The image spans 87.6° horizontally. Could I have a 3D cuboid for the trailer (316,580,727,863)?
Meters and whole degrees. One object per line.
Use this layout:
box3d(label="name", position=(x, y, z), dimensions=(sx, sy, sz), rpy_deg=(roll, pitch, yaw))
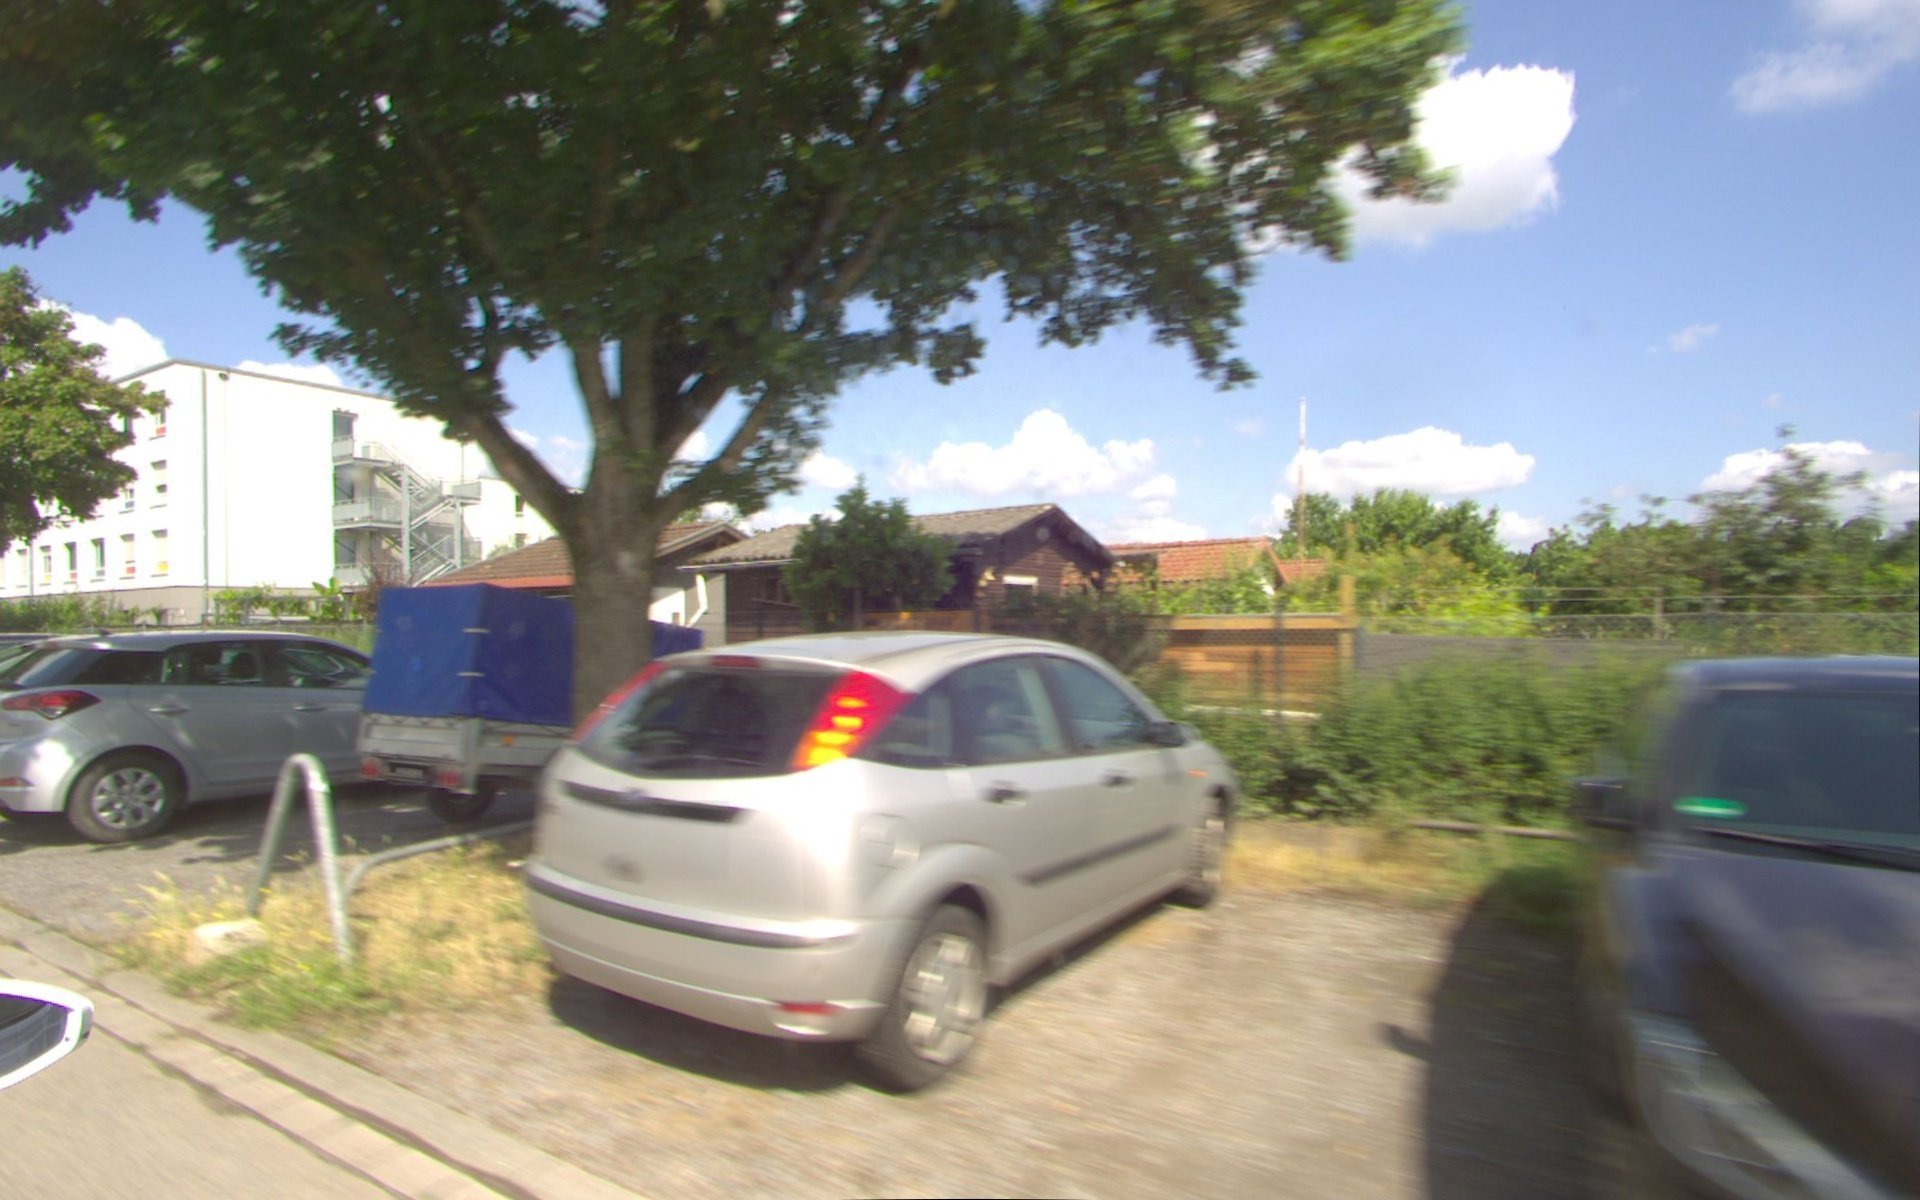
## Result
box3d(label="trailer", position=(-3.192, 0.795, 7.624), dimensions=(1.495, 1.742, 2.449), rpy_deg=(0, -2, 29))

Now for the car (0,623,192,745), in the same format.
box3d(label="car", position=(-12.786, 1.052, 12.789), dimensions=(1.947, 1.511, 4.329), rpy_deg=(-1, -3, 32))

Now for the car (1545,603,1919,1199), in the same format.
box3d(label="car", position=(2.613, 0.803, 2.595), dimensions=(1.842, 1.473, 4.062), rpy_deg=(-1, -2, 30))

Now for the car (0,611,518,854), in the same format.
box3d(label="car", position=(-5.979, 0.939, 8.523), dimensions=(1.822, 1.559, 3.721), rpy_deg=(-1, -2, 29))

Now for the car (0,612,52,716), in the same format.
box3d(label="car", position=(-16.961, 1.046, 15.371), dimensions=(1.853, 1.659, 4.144), rpy_deg=(-1, -1, 33))

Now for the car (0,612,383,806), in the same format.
box3d(label="car", position=(-8.308, 0.965, 9.716), dimensions=(1.971, 1.614, 4.296), rpy_deg=(-1, -3, 32))

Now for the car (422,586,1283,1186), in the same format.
box3d(label="car", position=(-0.040, 0.821, 4.800), dimensions=(1.932, 1.530, 4.054), rpy_deg=(-1, -3, 35))

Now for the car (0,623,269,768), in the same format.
box3d(label="car", position=(-10.489, 1.037, 11.478), dimensions=(1.875, 1.511, 3.808), rpy_deg=(-1, -3, 32))
